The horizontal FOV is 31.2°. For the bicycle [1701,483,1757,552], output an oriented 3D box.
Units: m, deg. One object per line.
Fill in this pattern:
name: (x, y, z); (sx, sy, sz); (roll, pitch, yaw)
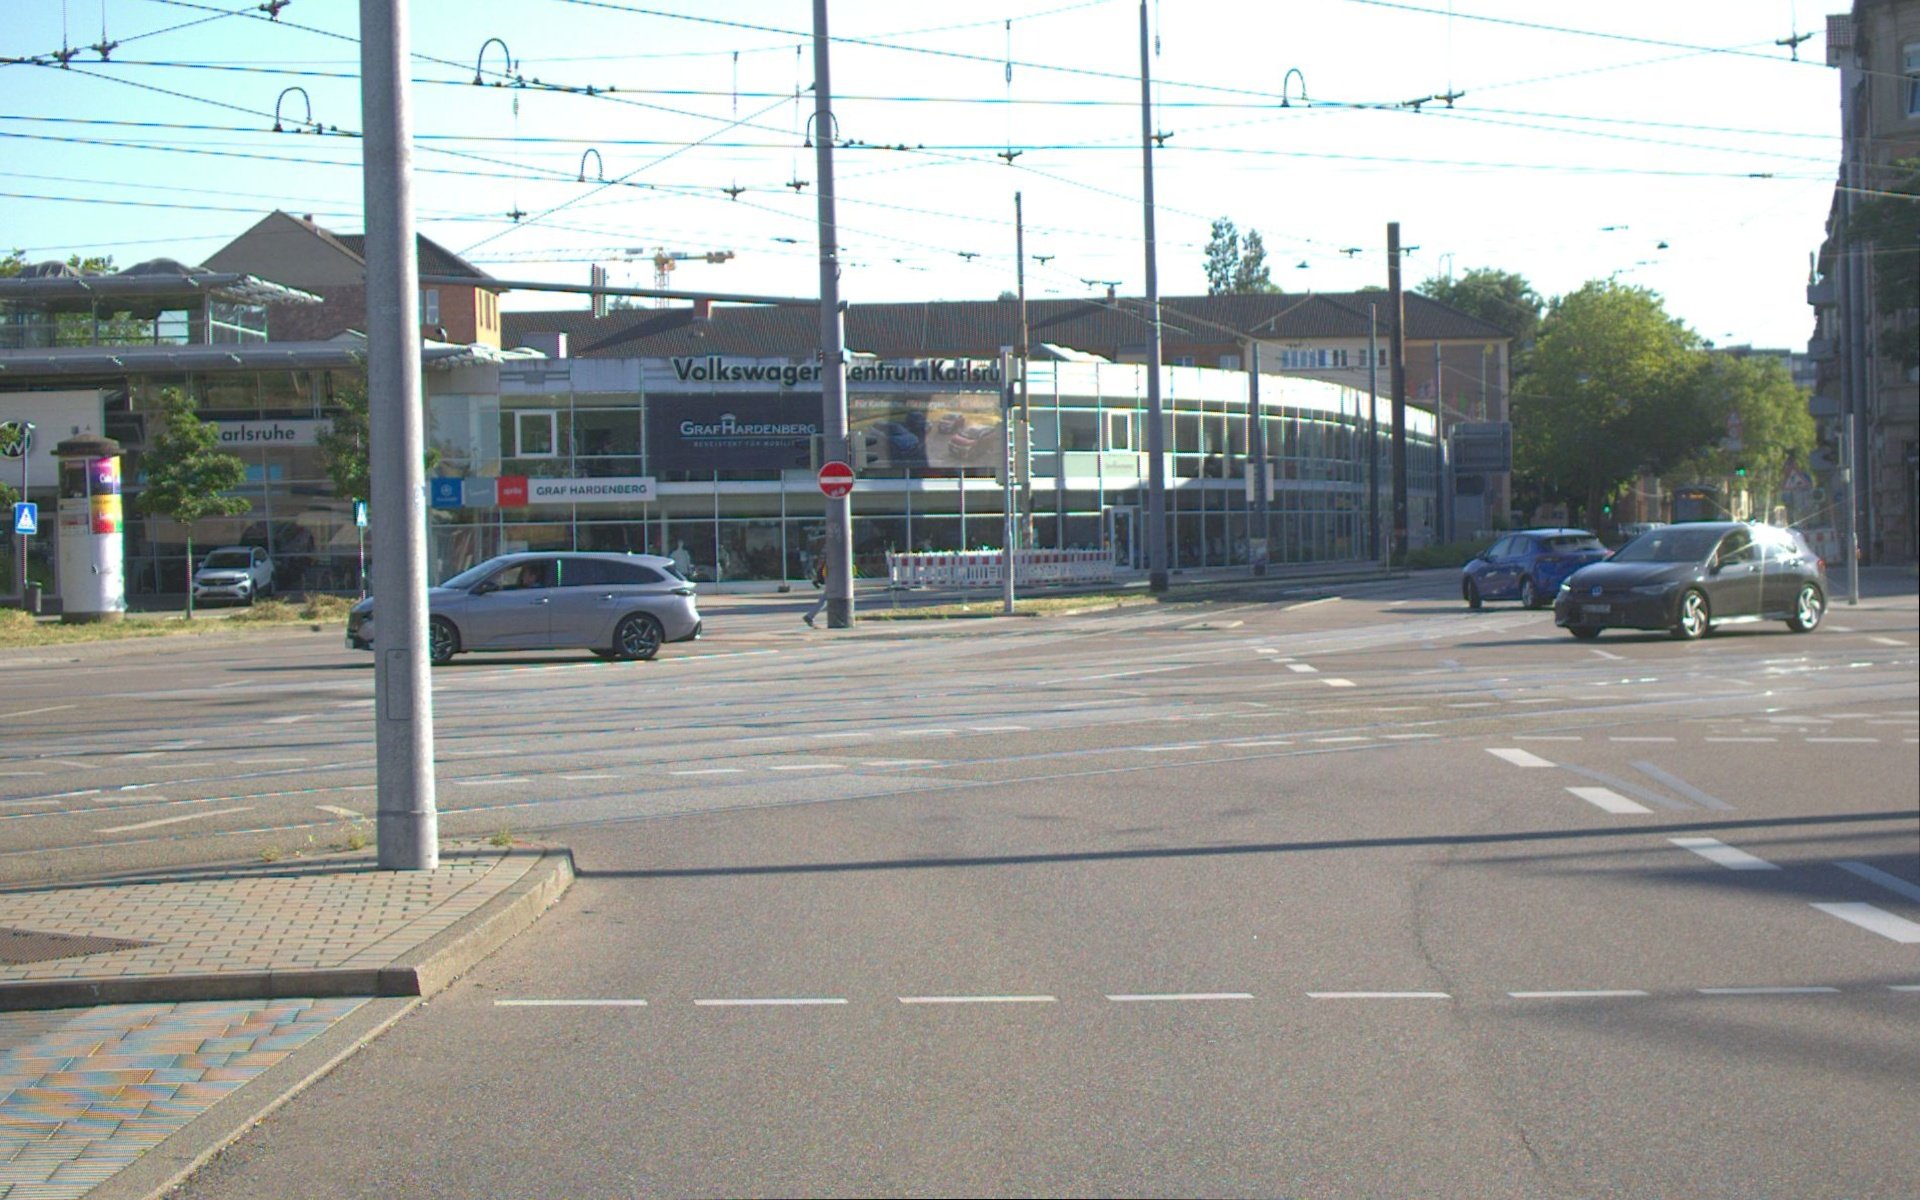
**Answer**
bicycle: (19.754, -2.139, 88.291); (1.136, 1.684, 3.997); (1, 3, 16)

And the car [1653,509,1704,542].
car: (38.174, -3.987, 182.782); (1.801, 1.650, 3.918); (0, 3, -1)

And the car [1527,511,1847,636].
car: (9.327, -0.358, 43.979); (4.091, 1.481, 1.953); (-2, 1, -42)

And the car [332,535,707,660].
car: (-5.822, -0.055, 45.411); (4.543, 1.512, 1.954); (-1, 1, -22)

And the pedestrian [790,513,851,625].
pedestrian: (-2.315, -0.522, 57.054); (0.989, 1.810, 0.920); (0, 3, -2)

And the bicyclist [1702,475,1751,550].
bicyclist: (19.677, -2.245, 88.265); (1.120, 1.894, 1.073); (1, 3, 17)

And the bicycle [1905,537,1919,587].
bicycle: (19.837, -0.762, 67.786); (2.295, 0.976, 0.860); (-1, 3, -23)

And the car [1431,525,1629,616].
car: (10.545, -0.564, 63.944); (1.947, 1.588, 4.618); (-1, 1, -14)

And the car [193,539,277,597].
car: (-21.227, -0.966, 100.783); (1.993, 1.529, 4.001); (0, 3, -6)
